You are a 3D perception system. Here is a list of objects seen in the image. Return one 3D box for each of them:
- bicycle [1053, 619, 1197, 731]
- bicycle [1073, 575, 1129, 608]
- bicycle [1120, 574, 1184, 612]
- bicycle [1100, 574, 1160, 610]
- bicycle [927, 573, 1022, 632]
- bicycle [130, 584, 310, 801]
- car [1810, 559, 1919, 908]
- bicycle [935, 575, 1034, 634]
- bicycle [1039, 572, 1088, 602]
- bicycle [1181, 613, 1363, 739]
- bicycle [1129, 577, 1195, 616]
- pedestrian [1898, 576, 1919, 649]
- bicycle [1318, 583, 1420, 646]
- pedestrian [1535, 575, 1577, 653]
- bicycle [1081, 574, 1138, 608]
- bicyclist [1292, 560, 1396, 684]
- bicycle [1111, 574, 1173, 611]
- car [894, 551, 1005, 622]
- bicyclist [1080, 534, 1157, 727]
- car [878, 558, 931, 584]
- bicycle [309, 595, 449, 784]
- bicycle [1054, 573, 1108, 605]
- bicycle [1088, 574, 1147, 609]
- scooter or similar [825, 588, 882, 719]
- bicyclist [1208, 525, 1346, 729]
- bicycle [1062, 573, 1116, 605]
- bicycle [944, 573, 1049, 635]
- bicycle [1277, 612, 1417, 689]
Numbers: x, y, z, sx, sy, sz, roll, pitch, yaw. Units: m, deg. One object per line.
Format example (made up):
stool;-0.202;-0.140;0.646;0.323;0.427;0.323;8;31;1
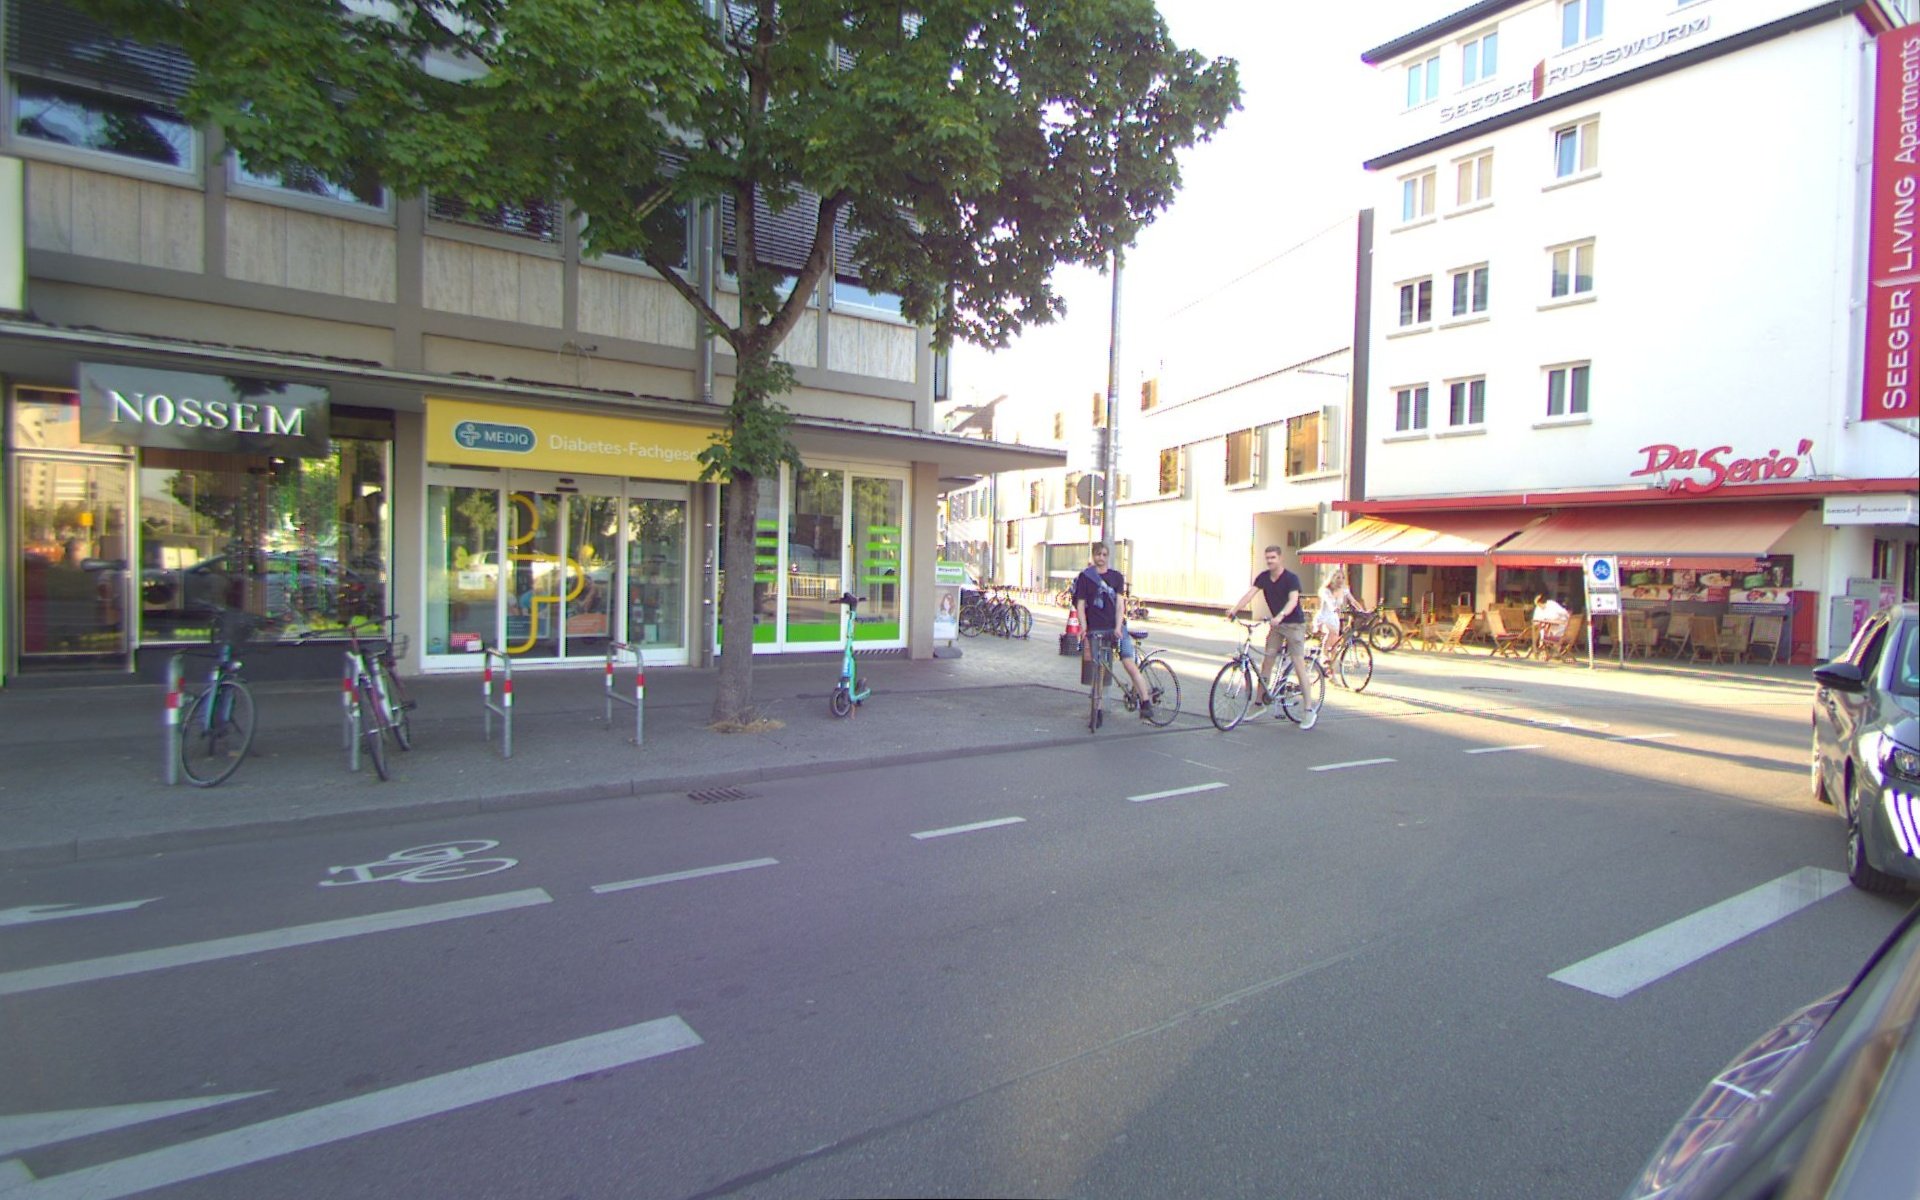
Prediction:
bicycle;1.693;0.715;10.197;0.465;0.982;1.771;3;2;45
bicycle;5.701;-0.354;40.847;2.068;1.235;0.706;2;1;-14
bicycle;6.821;-0.244;36.029;2.068;1.235;0.706;2;1;-14
bicycle;6.380;-0.311;37.985;2.068;1.235;0.706;2;1;-14
bicycle;0.343;0.067;24.073;2.068;1.235;0.706;4;1;-14
bicycle;-5.099;0.548;7.093;0.654;1.251;1.914;1;2;-25
car;6.091;0.596;5.728;1.724;1.541;4.275;2;1;37
bicycle;0.557;0.102;22.860;2.068;1.235;0.706;2;1;-14
bicycle;4.638;-0.567;45.405;2.068;1.235;0.706;2;1;-21
bicycle;3.210;0.714;10.308;2.042;1.032;0.839;-2;4;-42
bicycle;7.009;-0.127;35.166;2.068;1.235;0.706;2;1;-14
pedestrian;23.718;0.298;24.956;0.594;1.782;0.526;2;1;9
bicycle;9.283;0.310;23.079;0.690;1.303;2.115;0;2;-33
pedestrian;12.258;0.279;20.805;0.563;1.560;0.573;0;2;-44
bicycle;5.886;-0.338;39.916;2.068;1.235;0.706;2;1;-14
bicyclist;5.313;0.276;14.067;0.823;1.643;1.117;1;2;-13
bicycle;6.624;-0.282;36.826;2.068;1.235;0.706;2;1;-14
car;-0.375;-0.436;27.801;1.854;1.771;4.010;-1;3;-19
bicyclist;1.576;0.279;10.060;0.550;1.853;0.465;0;2;-45
car;-4.419;-2.299;80.377;3.917;2.039;2.004;0;1;-10
bicycle;-4.211;0.568;7.458;0.654;1.124;2.007;1;2;-23
bicycle;5.121;-0.465;42.887;2.068;1.235;0.706;2;1;-14
bicycle;6.076;-0.336;39.062;2.068;1.235;0.706;2;1;-14
scooter or similar;-1.100;0.517;10.598;0.332;1.250;1.276;2;2;5
bicyclist;3.228;0.236;10.297;1.095;1.941;0.839;0;2;-41
bicycle;5.374;-0.451;42.164;2.068;1.235;0.706;2;1;-14
bicycle;0.779;0.088;21.762;2.068;1.235;0.706;2;1;-14
bicycle;5.310;0.665;14.051;0.823;0.892;2.017;1;2;-13
